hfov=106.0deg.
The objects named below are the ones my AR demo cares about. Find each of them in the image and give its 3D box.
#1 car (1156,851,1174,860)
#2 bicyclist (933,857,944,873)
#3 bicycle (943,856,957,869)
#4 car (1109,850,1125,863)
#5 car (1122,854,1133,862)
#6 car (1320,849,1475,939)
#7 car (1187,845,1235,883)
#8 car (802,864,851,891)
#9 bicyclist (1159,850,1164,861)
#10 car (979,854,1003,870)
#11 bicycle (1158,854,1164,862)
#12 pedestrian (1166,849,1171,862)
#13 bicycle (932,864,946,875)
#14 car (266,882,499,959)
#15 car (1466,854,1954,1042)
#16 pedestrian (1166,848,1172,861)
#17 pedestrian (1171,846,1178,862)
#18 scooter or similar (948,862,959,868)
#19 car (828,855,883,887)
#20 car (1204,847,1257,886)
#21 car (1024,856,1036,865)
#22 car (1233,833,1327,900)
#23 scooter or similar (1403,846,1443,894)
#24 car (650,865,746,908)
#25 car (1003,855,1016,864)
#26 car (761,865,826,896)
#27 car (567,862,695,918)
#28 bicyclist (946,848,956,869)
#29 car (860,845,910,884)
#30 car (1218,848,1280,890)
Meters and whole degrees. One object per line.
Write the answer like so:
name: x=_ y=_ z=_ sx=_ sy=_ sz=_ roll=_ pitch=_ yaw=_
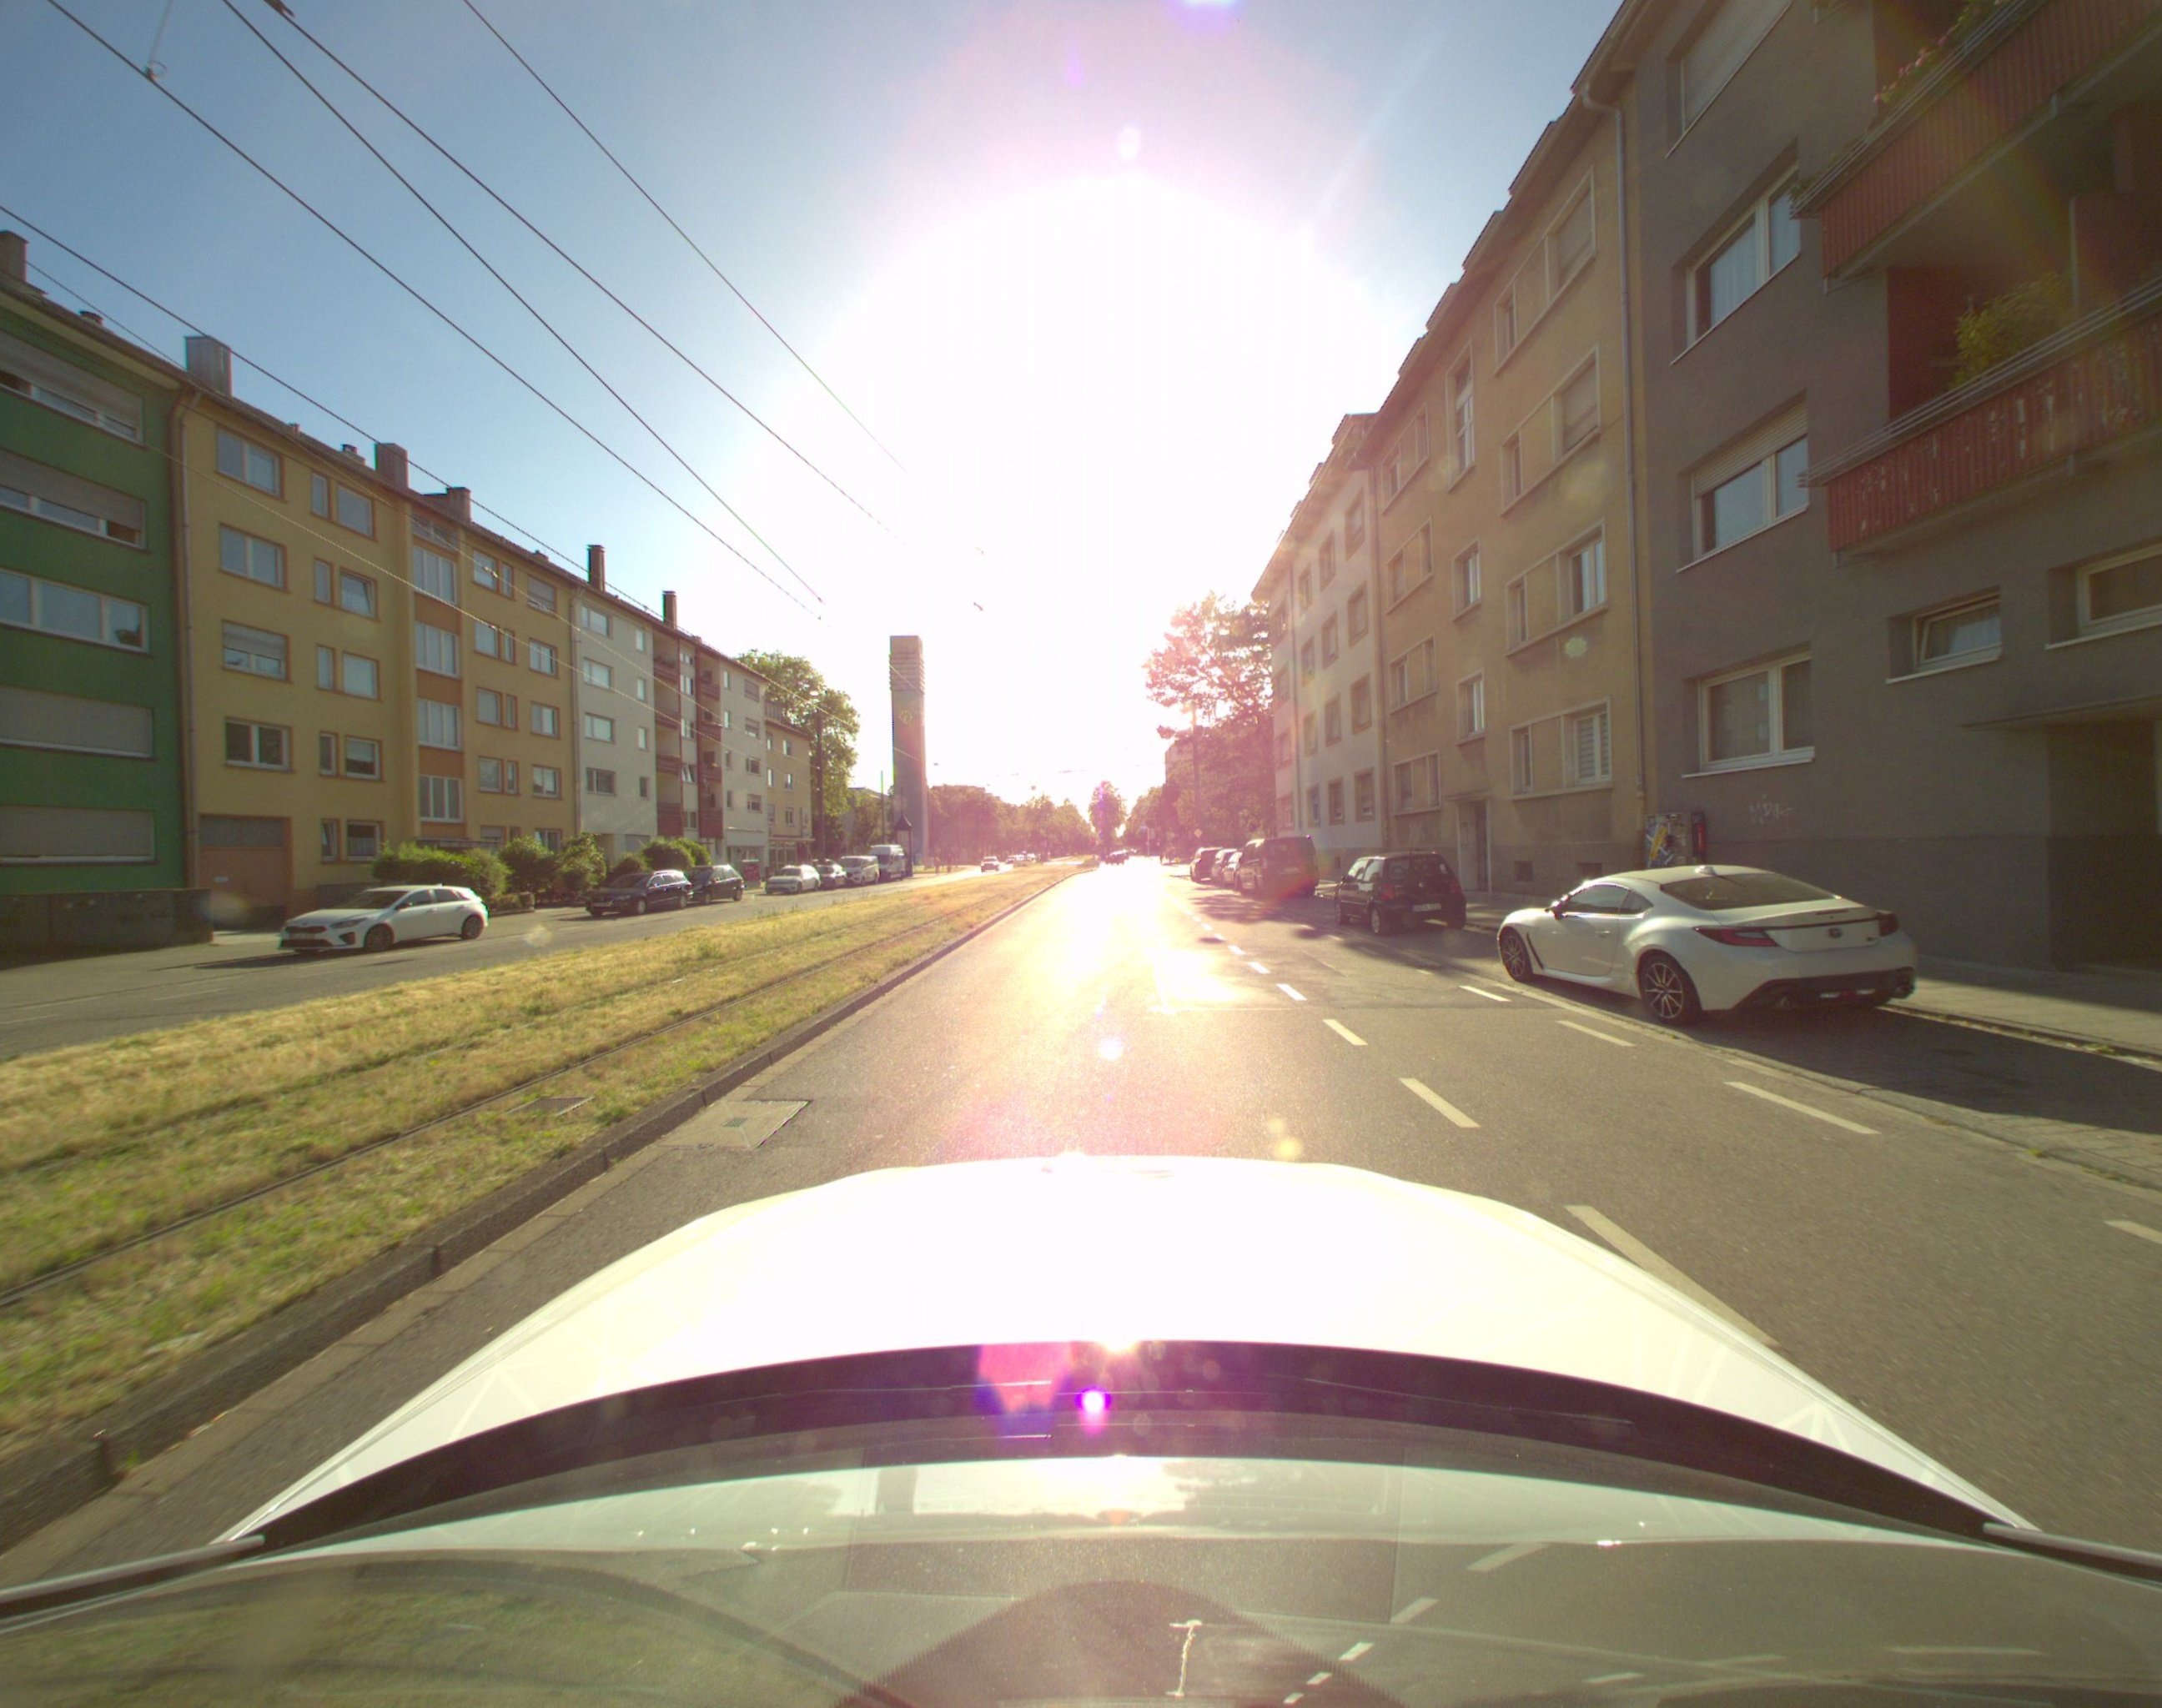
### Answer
car: x=19.489 y=0.336 z=188.666 sx=3.960 sy=1.860 sz=2.019 roll=1 pitch=0 yaw=12
bicyclist: x=-12.815 y=1.009 z=73.388 sx=0.770 sy=1.384 sz=0.648 roll=-2 pitch=0 yaw=2
bicycle: x=-12.816 y=0.847 z=79.774 sx=0.765 sy=1.146 sz=2.476 roll=-4 pitch=0 yaw=2
car: x=4.343 y=0.243 z=98.718 sx=1.689 sy=1.508 sz=3.698 roll=0 pitch=0 yaw=0
car: x=8.932 y=0.775 z=157.590 sx=1.887 sy=1.611 sz=4.501 roll=1 pitch=0 yaw=1
car: x=6.094 y=0.688 z=16.160 sx=1.629 sy=1.454 sz=3.791 roll=-4 pitch=0 yaw=2
car: x=6.725 y=0.469 z=42.542 sx=1.871 sy=1.716 sz=4.938 roll=-5 pitch=0 yaw=3
car: x=-15.584 y=1.418 z=50.118 sx=1.689 sy=1.515 sz=4.325 roll=-1 pitch=0 yaw=-1
bicyclist: x=9.831 y=0.149 z=99.790 sx=0.635 sy=1.323 sz=0.804 roll=1 pitch=0 yaw=4
car: x=-9.062 y=0.775 z=82.544 sx=1.687 sy=1.448 sz=4.220 roll=-3 pitch=0 yaw=3
bicycle: x=9.823 y=0.517 z=99.840 sx=0.645 sy=0.972 sz=1.806 roll=1 pitch=0 yaw=5
pedestrian: x=10.593 y=0.134 z=98.545 sx=0.526 sy=1.528 sz=0.629 roll=-3 pitch=0 yaw=7
bicycle: x=-12.818 y=1.365 z=73.463 sx=0.765 sy=0.879 sz=2.070 roll=-3 pitch=0 yaw=2
car: x=-16.573 y=1.510 z=19.690 sx=1.722 sy=1.454 sz=4.378 roll=-1 pitch=0 yaw=2
car: x=5.854 y=0.725 z=8.413 sx=1.696 sy=1.275 sz=4.304 roll=-5 pitch=0 yaw=1
pedestrian: x=11.427 y=0.032 z=105.786 sx=0.724 sy=1.682 sz=0.535 roll=1 pitch=0 yaw=14
pedestrian: x=11.356 y=-0.009 z=98.413 sx=0.699 sy=1.789 sz=0.695 roll=-4 pitch=1 yaw=7
scooter or similar: x=-20.508 y=1.803 z=130.712 sx=1.737 sy=0.899 sz=0.561 roll=-2 pitch=0 yaw=-14
car: x=-15.422 y=1.120 z=56.124 sx=2.024 sy=2.021 sz=5.375 roll=1 pitch=0 yaw=3
car: x=6.775 y=0.522 z=37.212 sx=1.589 sy=1.578 sz=3.894 roll=-4 pitch=0 yaw=-1
car: x=-9.318 y=1.096 z=148.349 sx=1.681 sy=1.533 sz=4.363 roll=-2 pitch=0 yaw=2
car: x=6.562 y=0.382 z=27.499 sx=1.906 sy=1.899 sz=5.137 roll=-5 pitch=0 yaw=1
scooter or similar: x=9.335 y=0.425 z=22.261 sx=0.457 sy=1.238 sz=1.339 roll=-5 pitch=0 yaw=2
car: x=-16.318 y=1.352 z=34.954 sx=1.986 sy=1.607 sz=4.153 roll=1 pitch=0 yaw=2
car: x=-12.908 y=0.961 z=147.730 sx=1.800 sy=1.533 sz=4.363 roll=-2 pitch=0 yaw=2
car: x=-15.757 y=1.426 z=44.850 sx=1.886 sy=1.491 sz=4.703 roll=0 pitch=0 yaw=0
car: x=-16.426 y=1.245 z=30.043 sx=1.986 sy=1.838 sz=4.611 roll=1 pitch=0 yaw=2
bicyclist: x=-12.705 y=0.416 z=79.465 sx=0.770 sy=2.013 sz=0.648 roll=1 pitch=0 yaw=2
car: x=-15.154 y=0.752 z=63.305 sx=2.024 sy=2.868 sz=6.233 roll=0 pitch=0 yaw=3
car: x=6.643 y=0.564 z=32.531 sx=1.506 sy=1.478 sz=4.237 roll=-3 pitch=0 yaw=-1
